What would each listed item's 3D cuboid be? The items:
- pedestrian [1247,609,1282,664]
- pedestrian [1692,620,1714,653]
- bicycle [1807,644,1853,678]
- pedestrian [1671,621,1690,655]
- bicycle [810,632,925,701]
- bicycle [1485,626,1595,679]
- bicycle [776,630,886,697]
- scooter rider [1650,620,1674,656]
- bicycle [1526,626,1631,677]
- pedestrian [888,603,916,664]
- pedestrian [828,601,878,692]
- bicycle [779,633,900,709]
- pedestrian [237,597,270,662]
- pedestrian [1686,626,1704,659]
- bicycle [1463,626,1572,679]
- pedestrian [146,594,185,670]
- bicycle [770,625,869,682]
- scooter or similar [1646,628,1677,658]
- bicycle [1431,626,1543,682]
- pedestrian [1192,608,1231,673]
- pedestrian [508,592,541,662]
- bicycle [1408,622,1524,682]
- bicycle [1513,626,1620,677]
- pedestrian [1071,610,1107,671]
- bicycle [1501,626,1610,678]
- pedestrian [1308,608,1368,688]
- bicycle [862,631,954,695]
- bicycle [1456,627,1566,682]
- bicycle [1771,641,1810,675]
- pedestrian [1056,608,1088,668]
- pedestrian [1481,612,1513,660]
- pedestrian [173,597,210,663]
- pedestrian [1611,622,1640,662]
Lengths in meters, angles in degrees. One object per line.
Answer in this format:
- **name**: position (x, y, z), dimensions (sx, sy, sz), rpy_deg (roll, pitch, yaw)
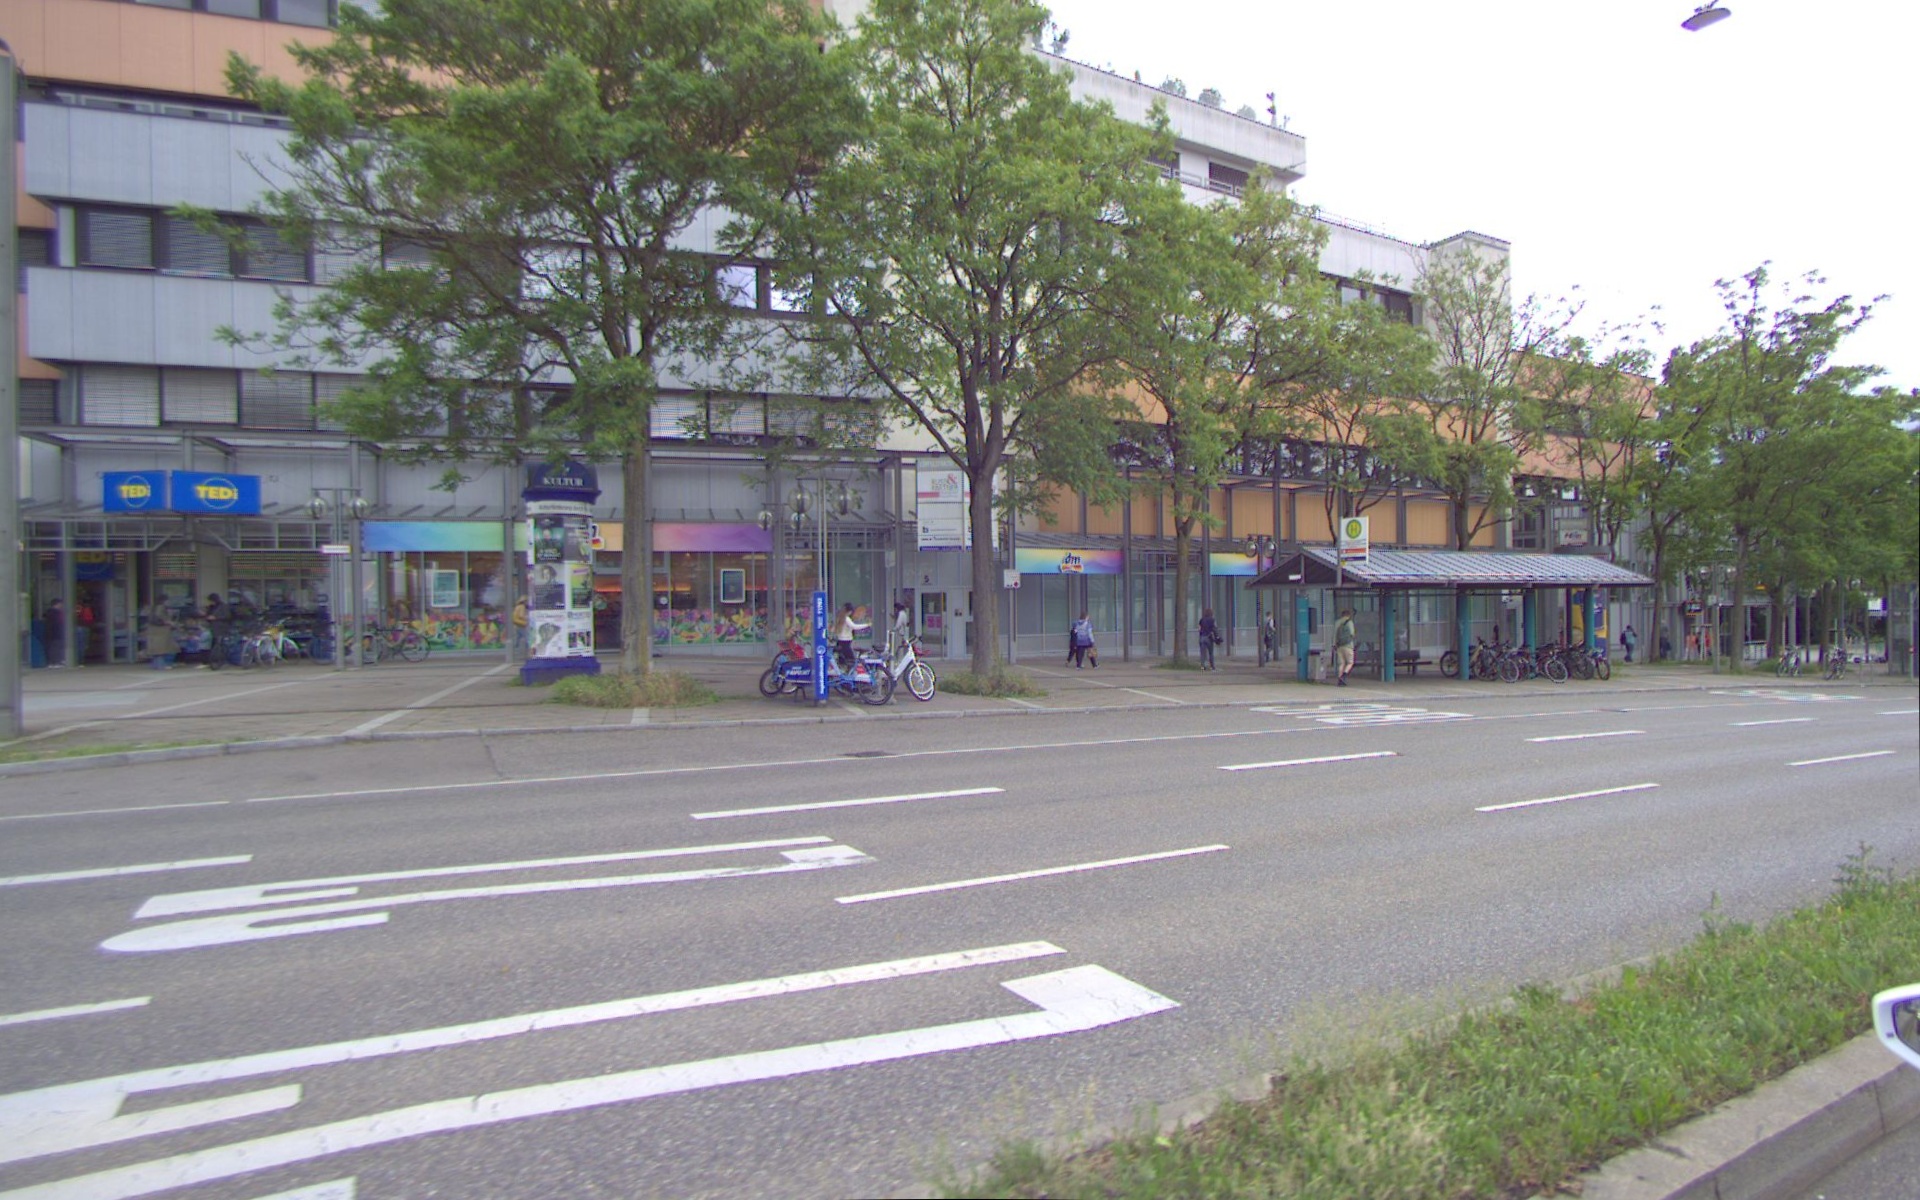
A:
- **pedestrian**: position (10.036, 1.196, 33.109), dimensions (0.781, 1.739, 0.765), rpy_deg (1, 1, -33)
- **pedestrian**: position (35.792, 1.752, 48.405), dimensions (0.817, 1.607, 0.630), rpy_deg (1, -2, -34)
- **bicycle**: position (29.908, 2.081, 34.521), dimensions (1.919, 1.098, 0.824), rpy_deg (1, -1, -38)
- **pedestrian**: position (36.777, 1.936, 51.284), dimensions (0.673, 1.750, 0.561), rpy_deg (1, -1, -33)
- **bicycle**: position (-1.616, 1.154, 17.694), dimensions (1.925, 1.177, 0.605), rpy_deg (0, -1, 8)
- **bicycle**: position (17.616, 1.570, 30.606), dimensions (0.797, 1.526, 2.883), rpy_deg (1, -1, -32)
- **bicycle**: position (-2.372, 1.151, 18.559), dimensions (1.936, 1.177, 0.602), rpy_deg (0, -1, -21)
- **scooter rider**: position (31.448, 1.711, 45.001), dimensions (0.696, 1.566, 0.524), rpy_deg (1, 1, -22)
- **bicycle**: position (19.561, 1.596, 31.853), dimensions (0.592, 1.526, 2.883), rpy_deg (1, -1, -32)
- **pedestrian**: position (-1.567, 0.900, 27.146), dimensions (0.610, 1.621, 0.634), rpy_deg (1, 1, 7)
- **pedestrian**: position (-2.126, 0.901, 19.865), dimensions (0.698, 1.736, 0.771), rpy_deg (1, 1, -30)
- **bicycle**: position (-2.023, 1.175, 16.911), dimensions (1.925, 1.177, 0.605), rpy_deg (1, 1, 8)
- **pedestrian**: position (-19.361, 0.806, 27.544), dimensions (0.699, 1.739, 0.699), rpy_deg (1, 1, -33)
- **pedestrian**: position (37.140, 2.141, 50.771), dimensions (0.673, 1.610, 0.514), rpy_deg (1, -1, -33)
- **bicycle**: position (16.931, 1.559, 30.595), dimensions (0.797, 1.526, 2.883), rpy_deg (1, -1, -32)
- **pedestrian**: position (-18.480, 0.736, 23.377), dimensions (0.628, 1.721, 0.699), rpy_deg (1, 1, -32)
- **bicycle**: position (-2.981, 1.124, 21.352), dimensions (1.978, 1.177, 0.674), rpy_deg (0, -1, 15)
- **scooter or similar**: position (31.458, 1.924, 45.020), dimensions (1.269, 1.284, 0.479), rpy_deg (1, 1, -22)
- **bicycle**: position (15.351, 1.543, 29.364), dimensions (0.881, 1.526, 2.883), rpy_deg (1, -1, -32)
- **pedestrian**: position (6.946, 1.103, 27.763), dimensions (0.772, 1.739, 0.775), rpy_deg (1, 1, -7)
- **pedestrian**: position (-10.978, 0.676, 25.332), dimensions (0.661, 1.723, 0.646), rpy_deg (1, -1, -32)
- **bicycle**: position (14.468, 1.456, 28.828), dimensions (0.961, 1.527, 2.883), rpy_deg (1, 0, -32)
- **bicycle**: position (19.016, 1.589, 31.574), dimensions (0.693, 1.526, 2.883), rpy_deg (1, -1, -32)
- **pedestrian**: position (3.532, 1.098, 27.533), dimensions (0.698, 1.605, 0.663), rpy_deg (1, 1, -30)
- **bicycle**: position (18.369, 1.577, 31.083), dimensions (0.770, 1.526, 2.883), rpy_deg (1, -1, -32)
- **pedestrian**: position (9.115, 1.149, 24.221), dimensions (1.198, 1.847, 0.701), rpy_deg (2, 1, -28)
- **bicycle**: position (-0.973, 1.169, 18.905), dimensions (1.655, 1.177, 0.605), rpy_deg (0, -1, 7)
- **bicycle**: position (16.290, 1.578, 29.792), dimensions (0.802, 1.526, 2.885), rpy_deg (1, -1, -30)
- **bicycle**: position (29.333, 2.043, 35.466), dimensions (1.940, 1.151, 0.708), rpy_deg (1, -1, -39)
- **pedestrian**: position (3.130, 1.059, 28.100), dimensions (0.615, 1.621, 0.630), rpy_deg (1, 1, -27)
- **pedestrian**: position (23.142, 1.568, 43.291), dimensions (0.923, 2.040, 0.892), rpy_deg (1, -2, -30)
- **pedestrian**: position (-20.550, 0.791, 26.873), dimensions (0.699, 1.739, 0.699), rpy_deg (1, 1, -33)
- **pedestrian**: position (29.723, 1.882, 44.880), dimensions (0.877, 1.739, 0.765), rpy_deg (1, 1, -33)
